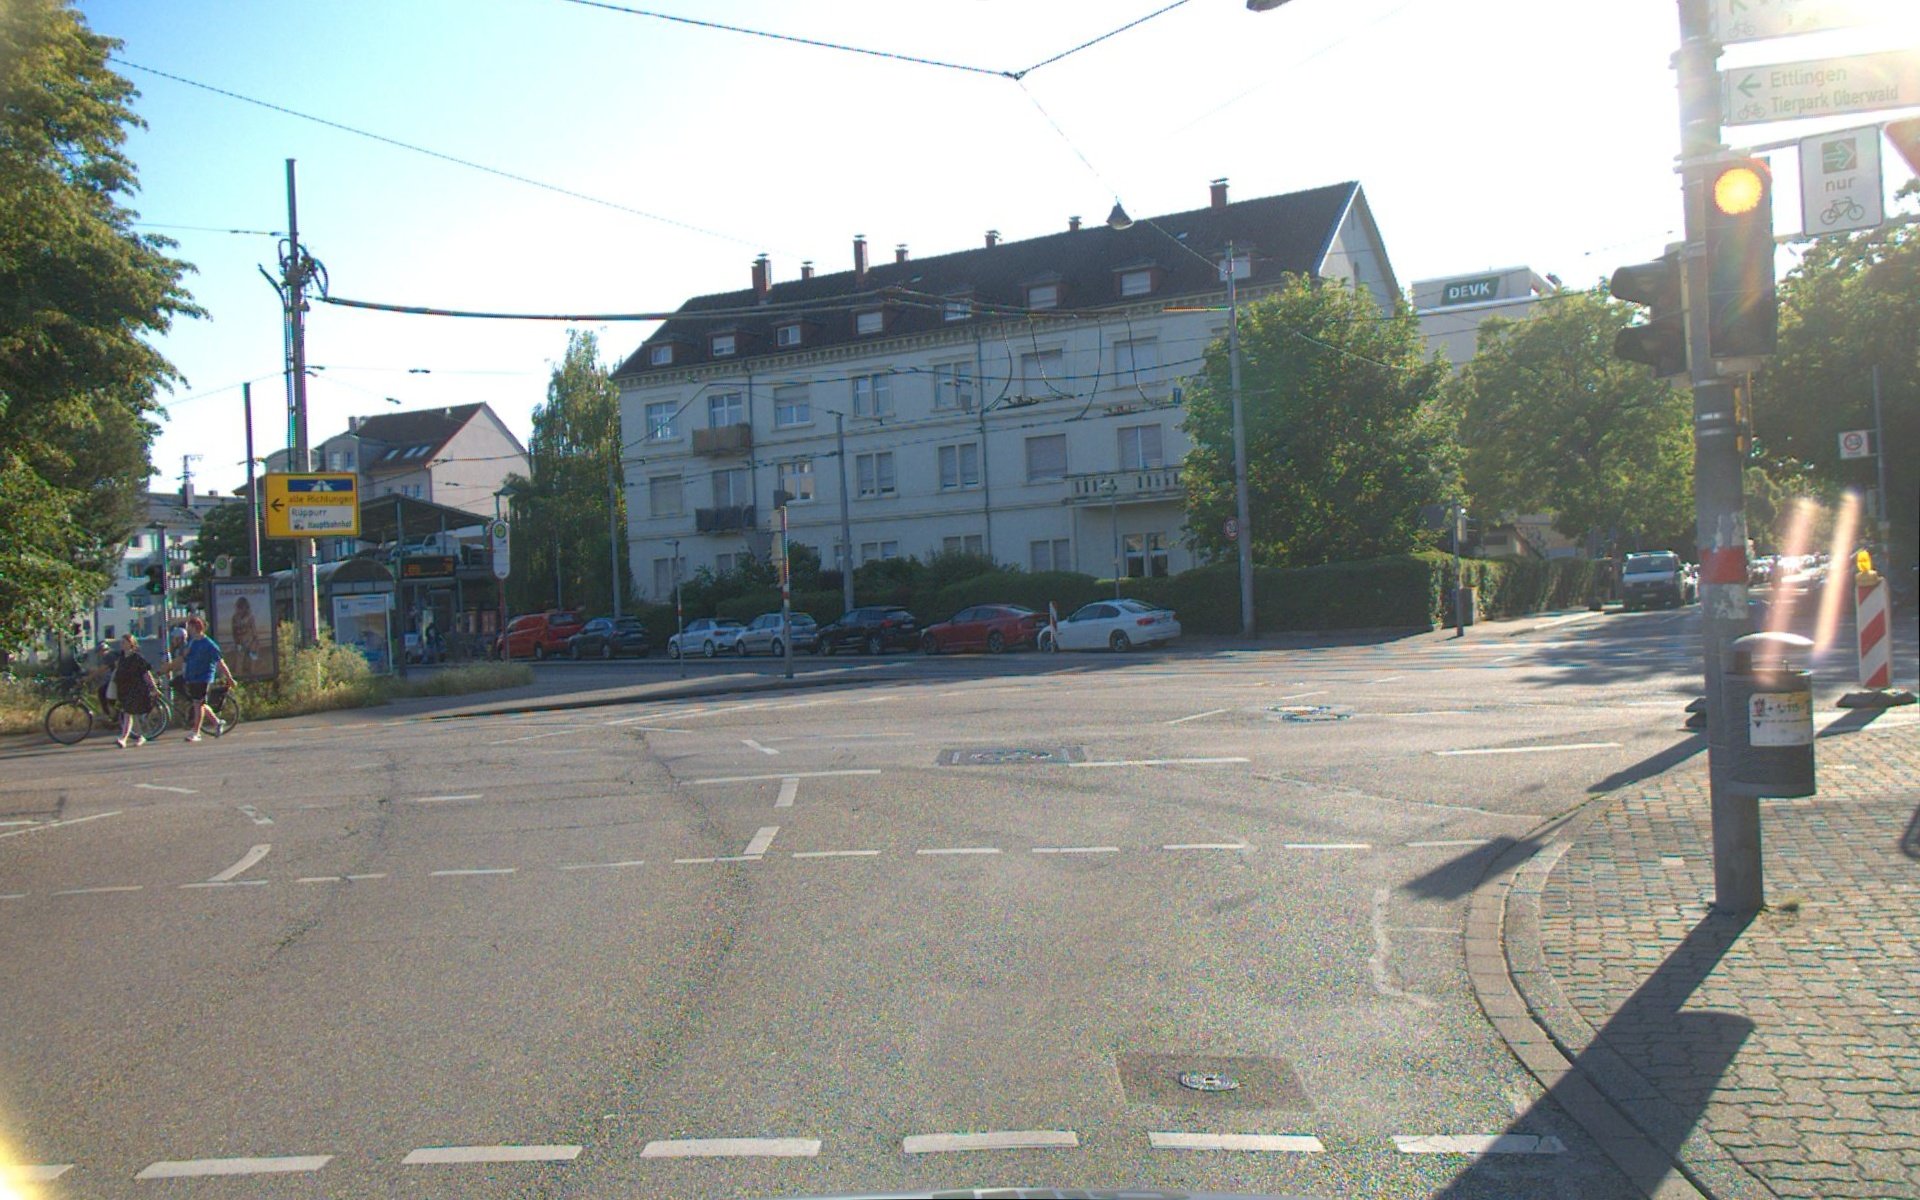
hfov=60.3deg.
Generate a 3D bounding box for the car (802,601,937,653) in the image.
[{"bbox_3d":[-3.029,0.912,54.574,1.970,1.472,4.634,-6,2,-41],"label":"car"}]

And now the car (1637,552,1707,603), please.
[{"bbox_3d":[28.350,-0.916,65.763,2.308,1.826,5.306,-3,0,26],"label":"car"}]

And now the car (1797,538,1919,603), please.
[{"bbox_3d":[31.344,-1.016,55.672,5.510,1.958,2.360,-3,-2,26],"label":"car"}]

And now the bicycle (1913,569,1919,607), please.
[{"bbox_3d":[24.733,-0.343,41.184,1.691,0.949,0.561,-3,0,29],"label":"bicycle"}]

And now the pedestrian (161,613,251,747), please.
[{"bbox_3d":[-11.594,1.210,25.470,0.894,1.958,1.066,-3,0,-7],"label":"pedestrian"}]

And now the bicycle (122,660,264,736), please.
[{"bbox_3d":[-12.602,1.606,27.232,1.978,1.087,0.661,-3,0,-13],"label":"bicycle"}]

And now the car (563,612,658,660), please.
[{"bbox_3d":[-14.191,1.479,66.973,1.830,1.696,4.304,-6,2,-41],"label":"car"}]

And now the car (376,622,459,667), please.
[{"bbox_3d":[-27.189,2.233,82.789,2.039,1.995,5.073,-6,2,-41],"label":"car"}]

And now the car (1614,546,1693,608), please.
[{"bbox_3d":[25.349,-0.868,60.337,2.308,2.049,5.306,-3,0,26],"label":"car"}]

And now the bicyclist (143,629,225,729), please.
[{"bbox_3d":[-12.753,1.293,27.206,1.016,1.558,0.696,-3,0,-13],"label":"bicyclist"}]

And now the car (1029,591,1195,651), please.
[{"bbox_3d":[4.200,0.592,46.183,1.916,1.400,4.426,-6,2,-43],"label":"car"}]

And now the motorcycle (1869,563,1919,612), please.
[{"bbox_3d":[22.935,-0.327,39.595,1.912,1.128,0.837,-3,0,24],"label":"motorcycle"}]

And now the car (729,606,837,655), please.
[{"bbox_3d":[-6.209,1.086,57.769,1.970,1.472,3.663,-6,2,-41],"label":"car"}]

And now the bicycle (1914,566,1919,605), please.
[{"bbox_3d":[24.373,-0.397,40.506,1.691,0.949,0.561,-3,0,29],"label":"bicycle"}]

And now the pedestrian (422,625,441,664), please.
[{"bbox_3d":[-21.122,1.791,66.089,0.560,1.527,0.672,-3,0,-29],"label":"pedestrian"}]

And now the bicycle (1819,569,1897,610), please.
[{"bbox_3d":[22.775,-0.261,41.984,1.691,0.949,0.671,-3,0,29],"label":"bicycle"}]

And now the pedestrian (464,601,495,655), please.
[{"bbox_3d":[-18.920,1.108,65.112,0.914,2.049,0.759,-3,-1,-37],"label":"pedestrian"}]

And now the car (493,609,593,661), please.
[{"bbox_3d":[-18.161,1.522,71.953,2.039,1.995,5.073,-6,2,-41],"label":"car"}]

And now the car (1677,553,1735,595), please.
[{"bbox_3d":[35.644,-1.247,78.974,2.308,1.826,5.306,-3,0,26],"label":"car"}]

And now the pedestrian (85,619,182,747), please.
[{"bbox_3d":[-12.147,1.196,24.336,0.894,1.777,1.066,-3,0,-7],"label":"pedestrian"}]

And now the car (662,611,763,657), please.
[{"bbox_3d":[-9.173,1.274,61.216,1.830,1.472,3.899,-6,2,-41],"label":"car"}]

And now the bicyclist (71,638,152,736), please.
[{"bbox_3d":[-14.248,1.452,27.795,1.016,1.558,0.658,-3,0,-13],"label":"bicyclist"}]

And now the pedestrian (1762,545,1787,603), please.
[{"bbox_3d":[26.835,-0.863,54.500,0.648,1.871,0.682,-3,0,28],"label":"pedestrian"}]

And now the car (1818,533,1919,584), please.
[{"bbox_3d":[40.818,-1.826,73.122,4.990,1.958,2.360,-3,-2,26],"label":"car"}]

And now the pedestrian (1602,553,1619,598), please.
[{"bbox_3d":[25.963,-0.982,65.999,0.567,1.761,0.608,-3,0,23],"label":"pedestrian"}]

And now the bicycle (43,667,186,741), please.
[{"bbox_3d":[-14.199,1.735,27.821,1.978,1.087,0.661,-3,0,-13],"label":"bicycle"}]

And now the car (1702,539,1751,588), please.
[{"bbox_3d":[43.114,-2.031,92.947,2.308,2.558,5.306,-3,0,26],"label":"car"}]

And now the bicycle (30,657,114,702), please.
[{"bbox_3d":[-23.292,2.071,43.411,0.647,1.088,2.020,1,0,19],"label":"bicycle"}]

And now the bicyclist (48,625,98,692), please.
[{"bbox_3d":[-23.274,1.534,43.423,0.654,1.681,0.886,-3,0,23],"label":"bicyclist"}]

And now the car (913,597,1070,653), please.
[{"bbox_3d":[0.915,0.770,50.126,4.625,1.400,1.974,-3,2,44],"label":"car"}]
